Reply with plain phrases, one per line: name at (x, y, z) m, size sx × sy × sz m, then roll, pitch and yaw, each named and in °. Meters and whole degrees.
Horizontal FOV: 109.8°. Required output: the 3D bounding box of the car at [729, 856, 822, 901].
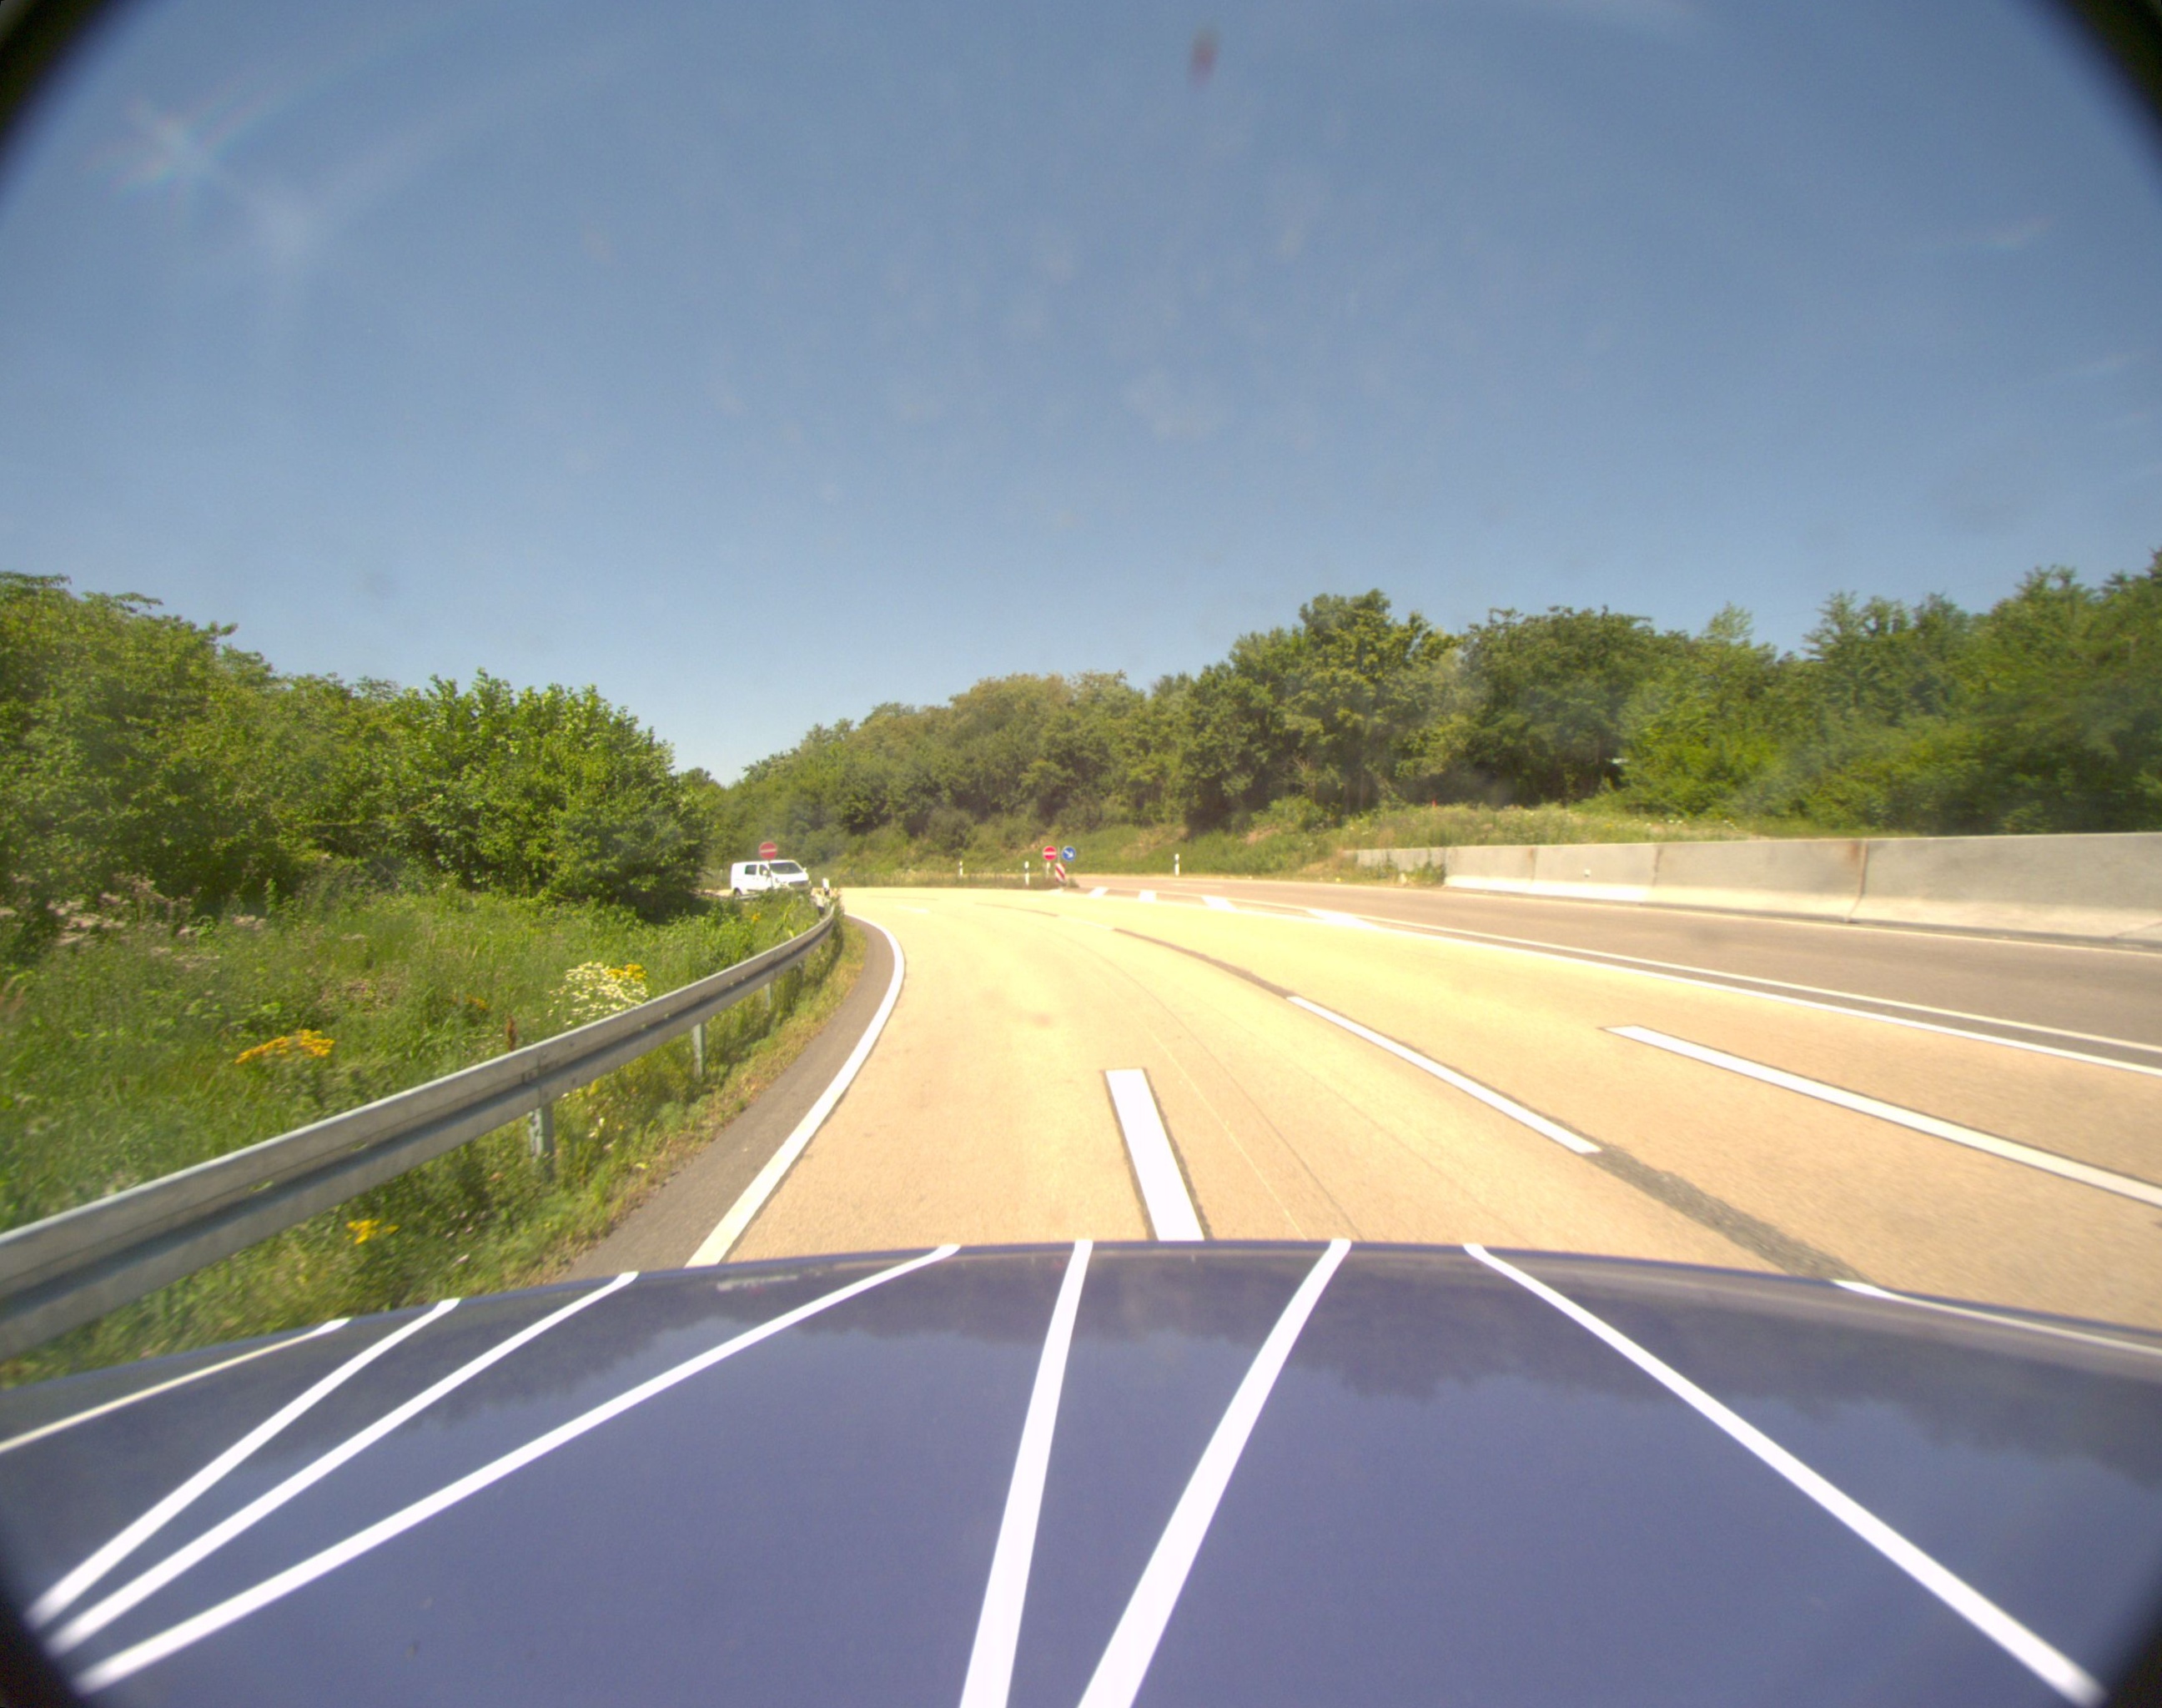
car at (-15.289, 1.214, 37.906) m, size 5.027 × 2.002 × 2.067 m, roll -2°, pitch 3°, yaw 41°
